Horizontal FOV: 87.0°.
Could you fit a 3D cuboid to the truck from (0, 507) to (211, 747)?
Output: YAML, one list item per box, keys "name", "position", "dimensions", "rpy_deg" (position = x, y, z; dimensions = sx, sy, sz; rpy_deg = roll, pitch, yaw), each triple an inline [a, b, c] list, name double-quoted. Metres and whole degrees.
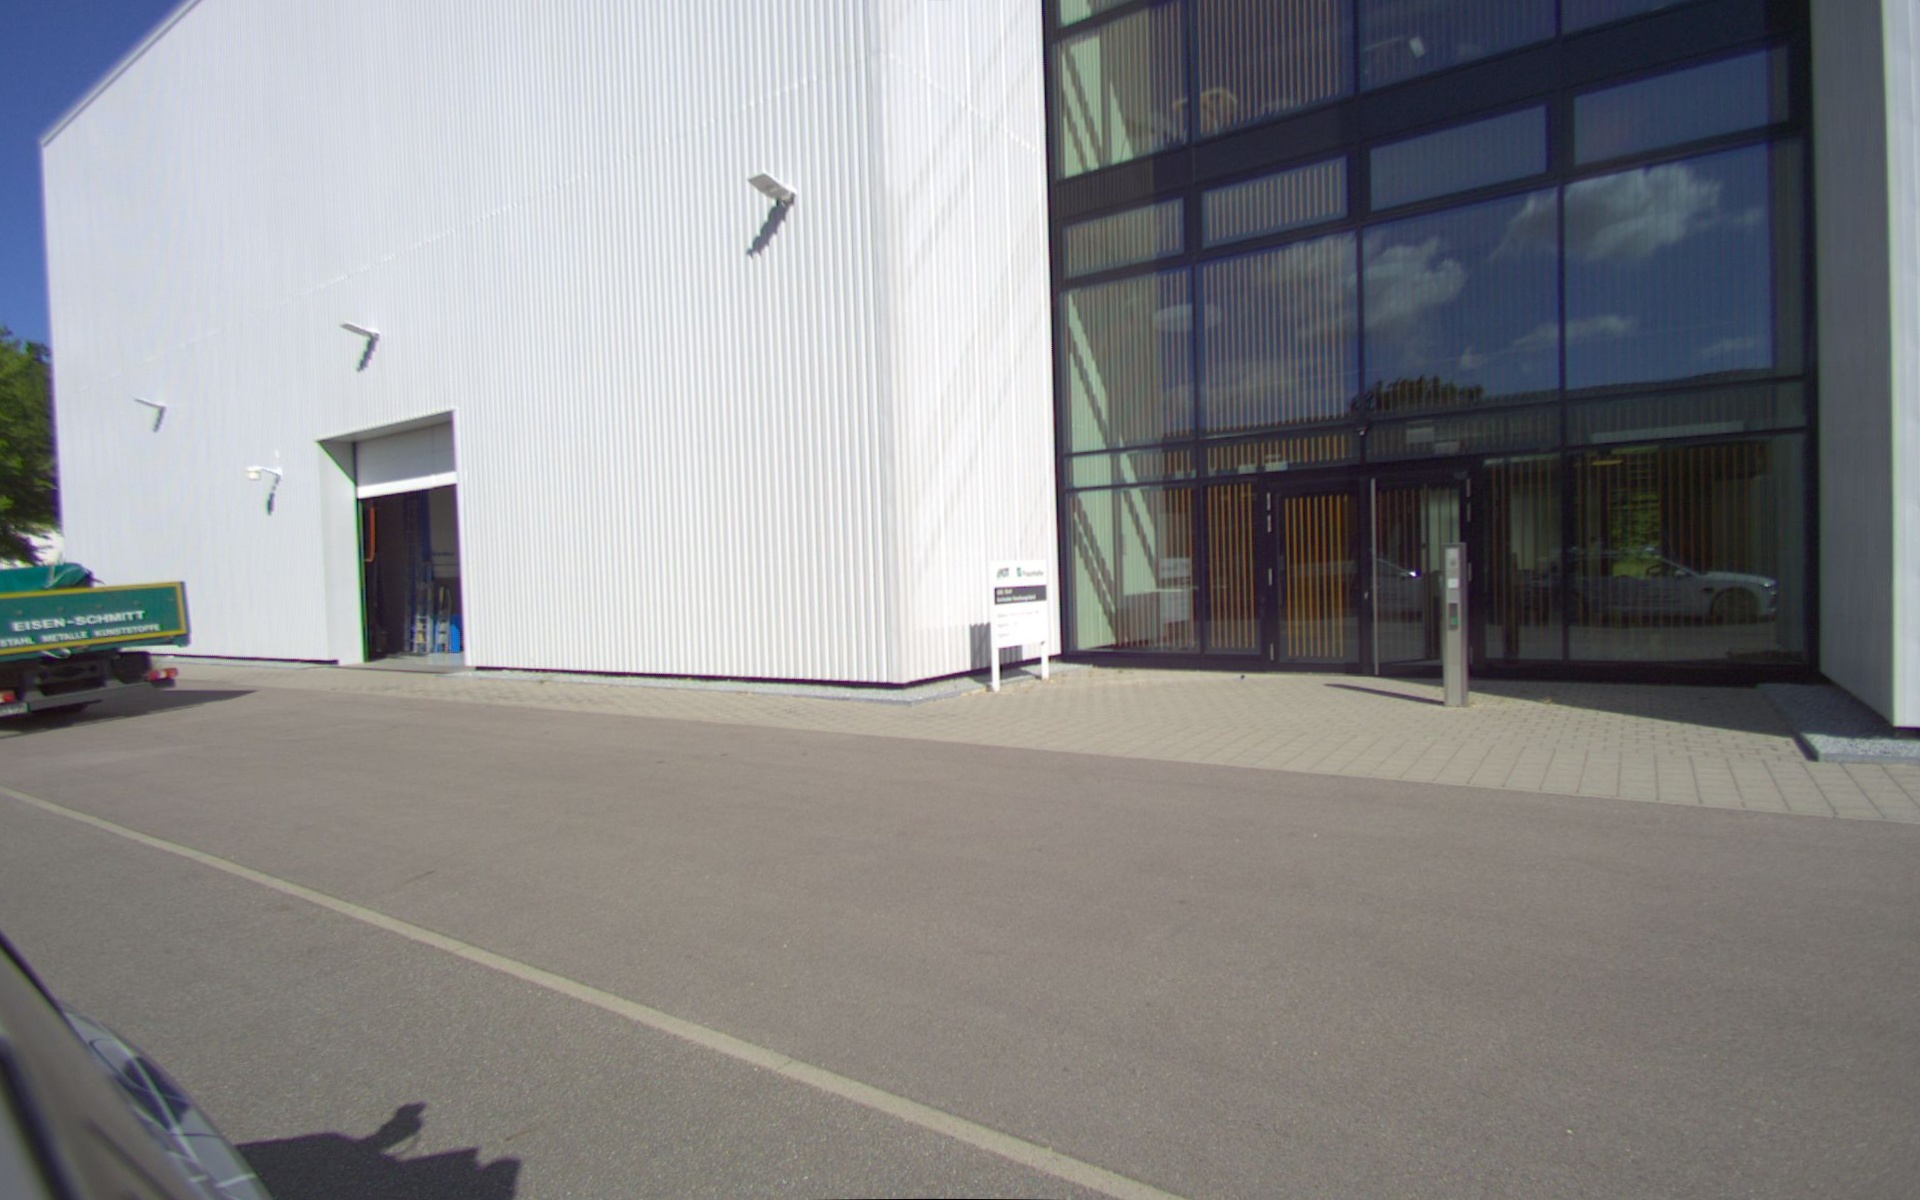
- name: "truck"
  position: [-15.109, 0.394, 14.263]
  dimensions: [9.629, 2.736, 2.571]
  rpy_deg: [-2, 3, 22]
